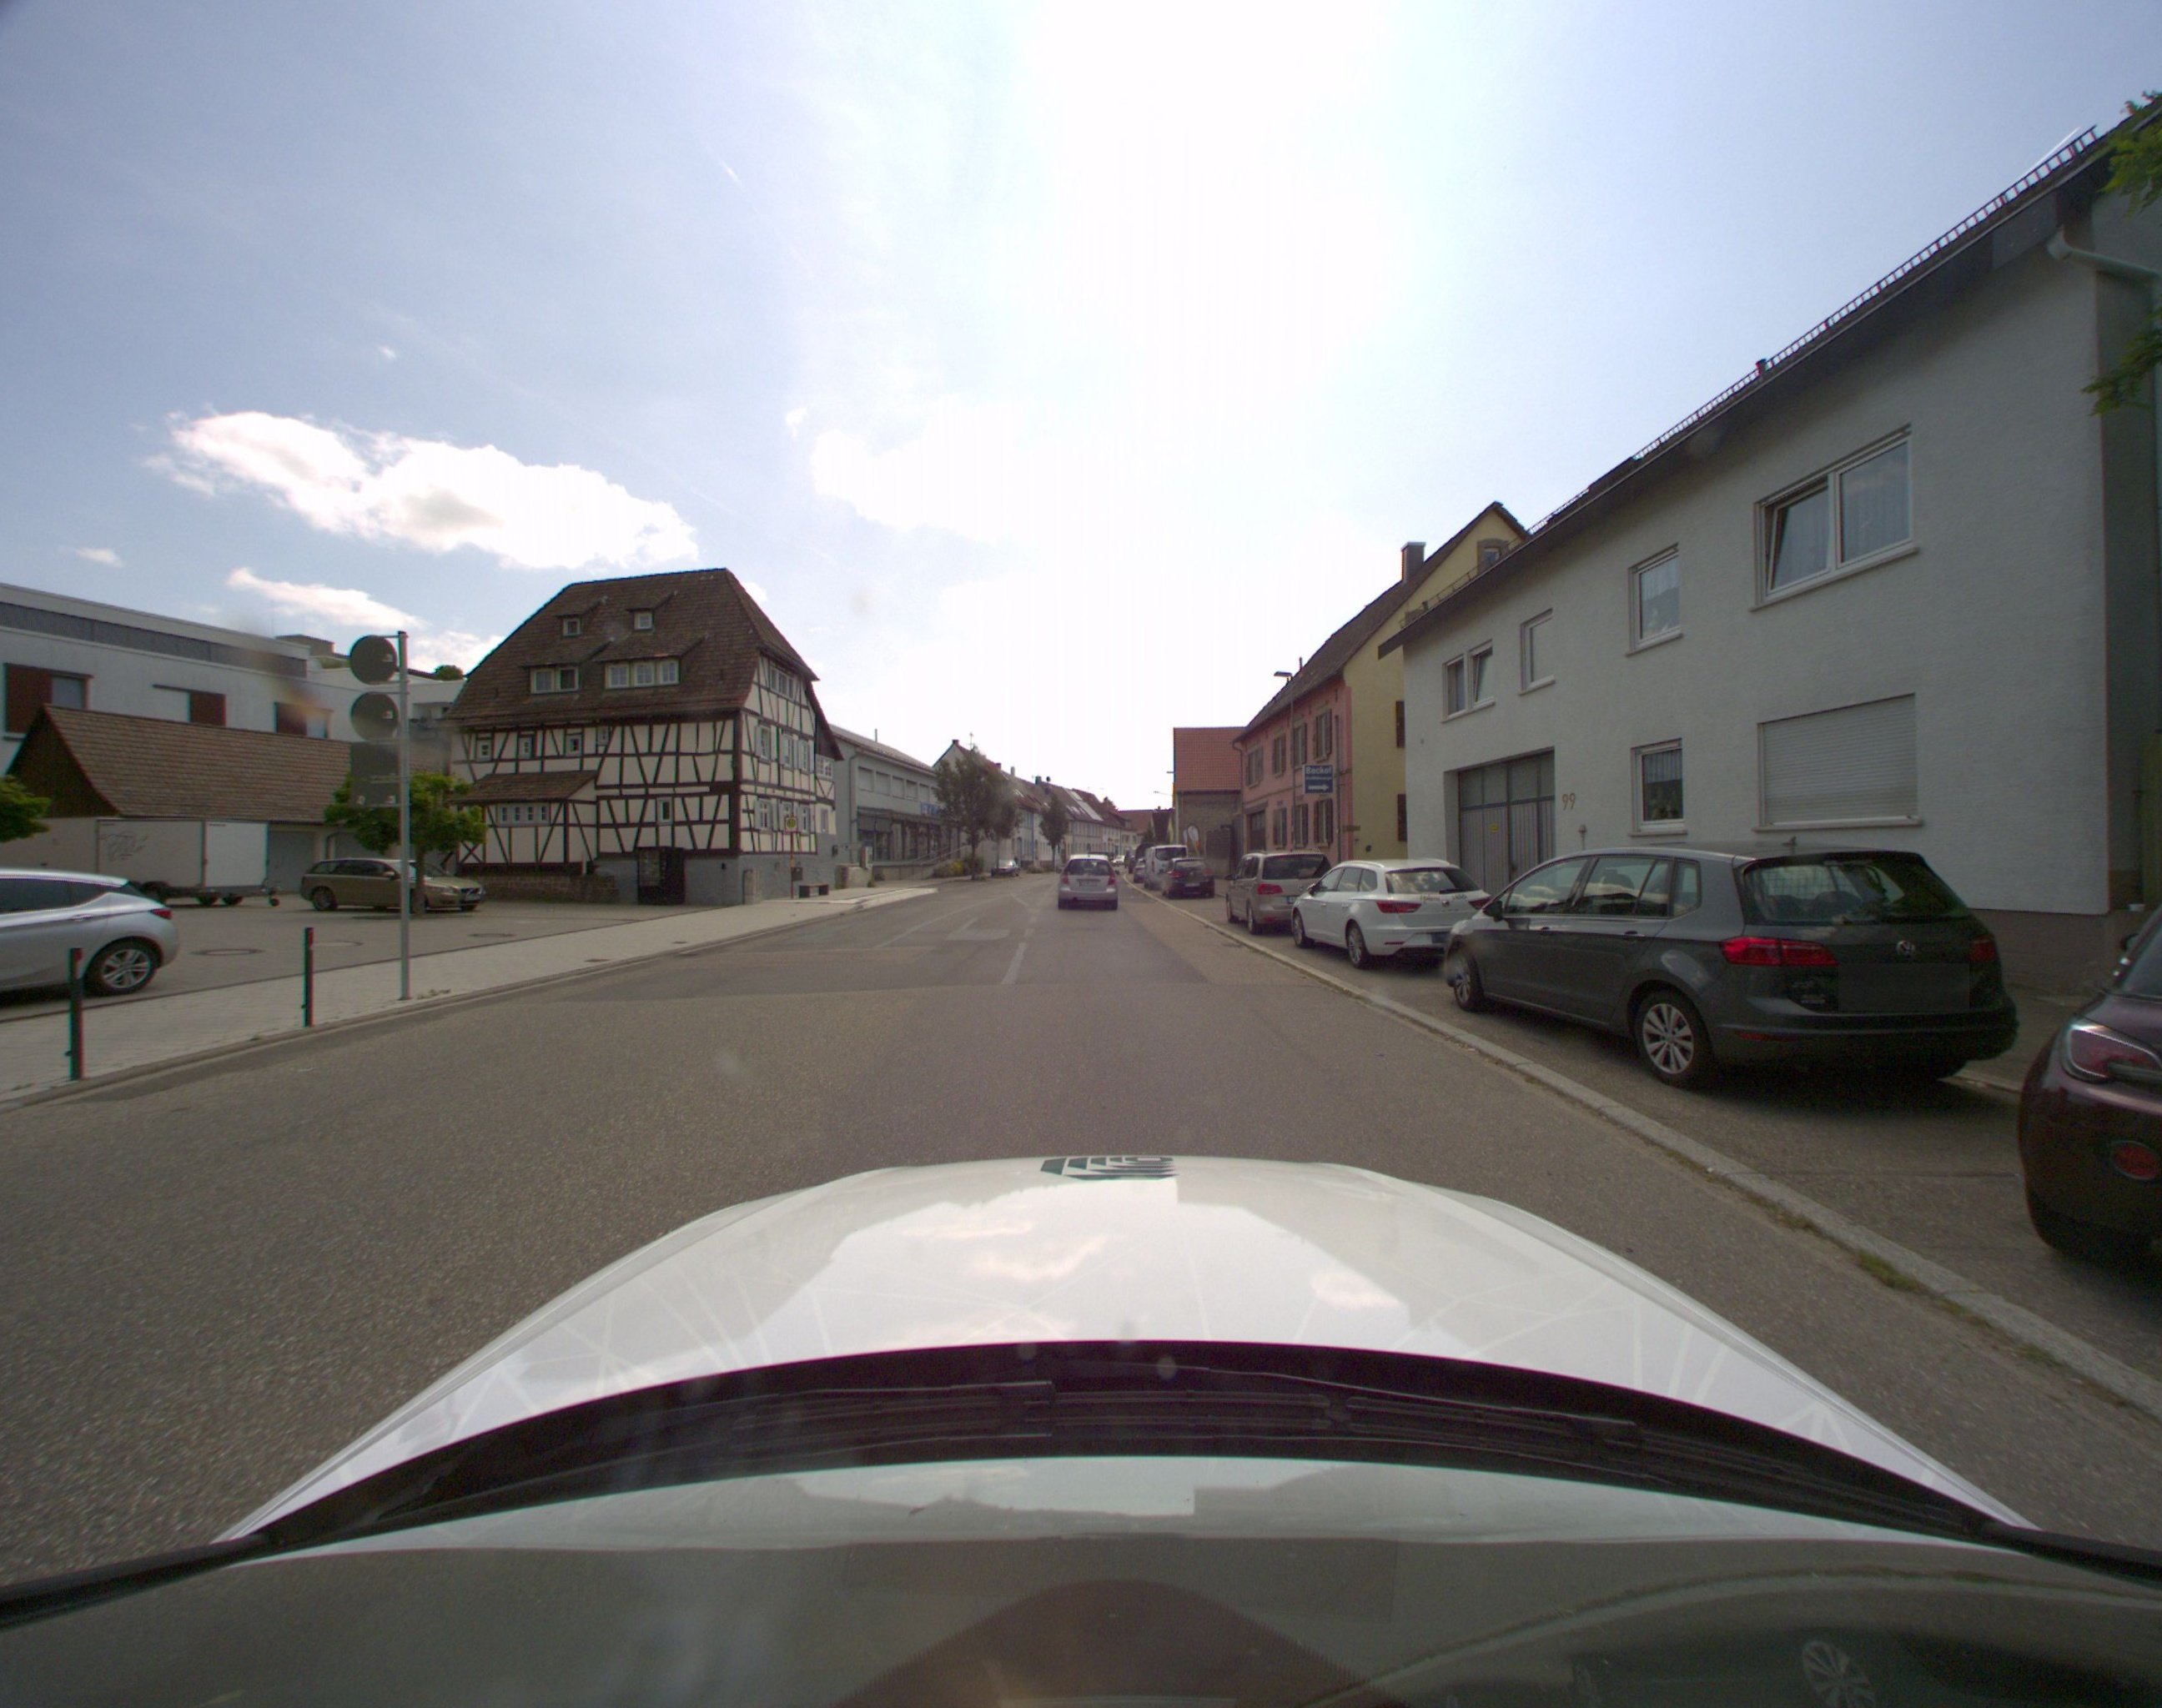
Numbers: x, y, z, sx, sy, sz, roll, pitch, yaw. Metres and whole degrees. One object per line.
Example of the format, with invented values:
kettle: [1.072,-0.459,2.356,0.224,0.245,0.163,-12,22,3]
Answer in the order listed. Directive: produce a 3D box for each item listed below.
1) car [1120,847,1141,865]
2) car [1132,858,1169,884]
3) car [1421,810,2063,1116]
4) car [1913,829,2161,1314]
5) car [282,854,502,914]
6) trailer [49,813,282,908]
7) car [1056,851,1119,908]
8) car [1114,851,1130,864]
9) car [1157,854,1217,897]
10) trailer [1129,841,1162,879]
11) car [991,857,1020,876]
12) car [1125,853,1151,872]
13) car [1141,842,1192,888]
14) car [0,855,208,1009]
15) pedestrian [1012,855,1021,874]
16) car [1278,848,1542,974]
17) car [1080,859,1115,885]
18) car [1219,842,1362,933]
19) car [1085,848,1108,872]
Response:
car: [6.431,0.278,105.066,2.223,2.222,4.009,-1,-1,9]
car: [4.040,0.966,48.087,1.869,1.481,4.675,0,0,1]
car: [4.467,0.597,6.536,1.657,1.624,4.270,-1,0,-1]
car: [4.963,0.640,2.886,3.241,1.505,1.812,-1,0,-25]
car: [-18.765,0.787,22.316,4.406,1.389,1.967,2,0,4]
trailer: [-25.669,0.173,22.937,4.406,2.426,1.966,2,-1,4]
car: [0.170,0.747,25.140,1.763,1.595,3.998,0,-1,-1]
car: [6.025,0.564,118.461,1.983,1.750,4.007,-1,-1,6]
car: [3.941,0.776,30.760,1.768,1.495,4.162,-1,0,1]
trailer: [4.218,0.383,53.452,1.839,2.354,3.589,-1,0,0]
car: [-6.090,0.998,66.123,1.797,1.460,4.161,0,0,3]
car: [5.049,0.769,72.515,1.987,1.559,4.000,-2,0,0]
car: [3.967,0.512,38.633,1.885,1.982,4.931,-3,0,1]
car: [-11.941,0.793,8.062,1.751,1.492,4.279,3,0,3]
pedestrian: [-6.081,0.969,76.932,0.736,1.801,0.643,-1,-1,2]
car: [4.578,0.707,12.173,1.989,1.517,4.366,-1,0,-3]
car: [0.937,1.009,47.591,1.939,1.407,3.999,1,0,0]
car: [4.290,0.634,17.420,1.987,1.680,4.323,-1,0,1]
car: [1.302,0.530,68.577,1.762,1.888,4.449,2,-1,2]
